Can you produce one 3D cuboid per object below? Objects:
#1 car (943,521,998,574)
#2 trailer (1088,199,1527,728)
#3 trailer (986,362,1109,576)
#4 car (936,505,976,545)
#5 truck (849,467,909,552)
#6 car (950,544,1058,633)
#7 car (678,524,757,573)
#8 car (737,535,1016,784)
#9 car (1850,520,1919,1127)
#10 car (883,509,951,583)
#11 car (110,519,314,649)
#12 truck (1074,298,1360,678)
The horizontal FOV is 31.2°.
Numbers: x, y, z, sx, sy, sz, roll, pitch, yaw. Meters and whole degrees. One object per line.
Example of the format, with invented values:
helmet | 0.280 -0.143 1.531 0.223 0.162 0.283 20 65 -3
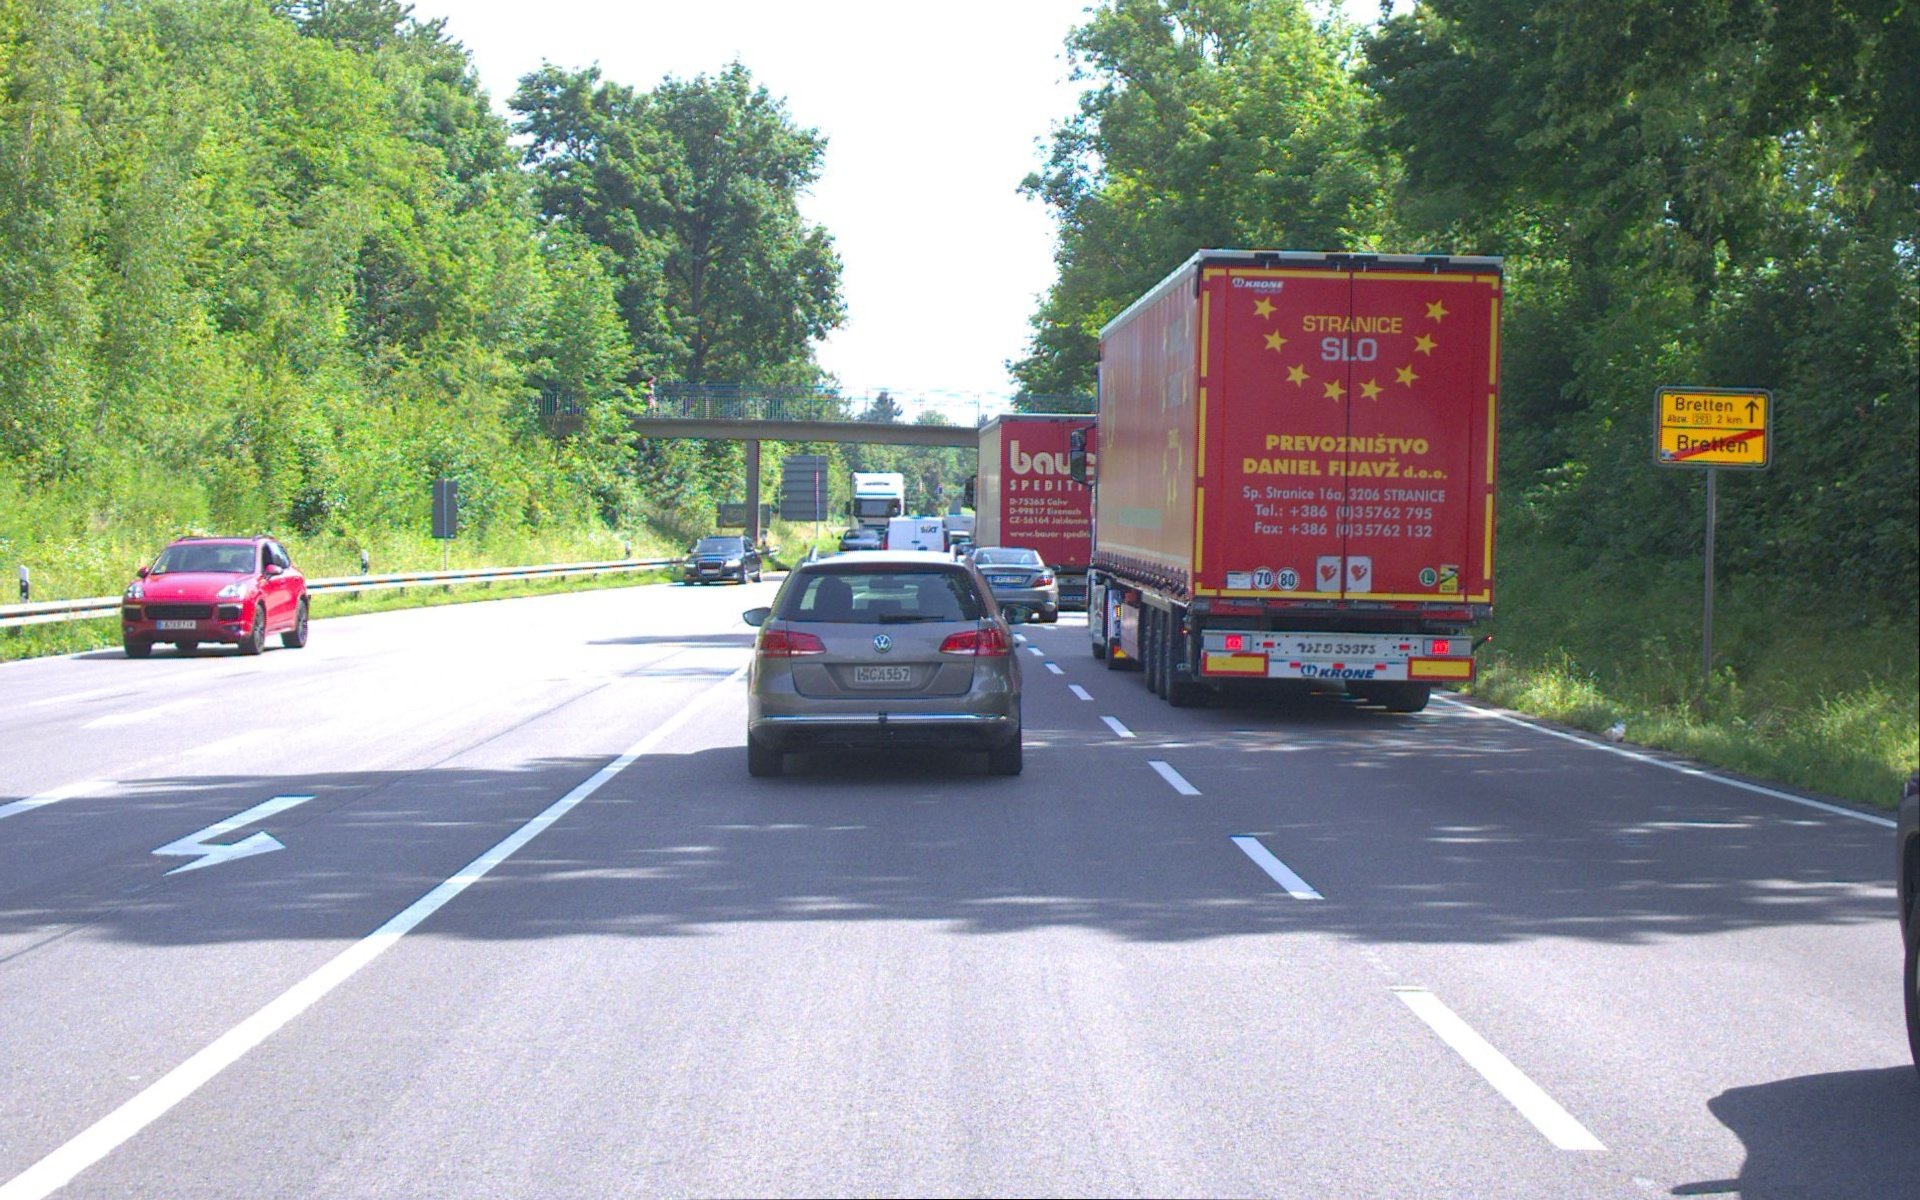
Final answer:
car | 0.389 -2.014 132.550 1.993 2.007 4.000 -1 1 -1
trailer | 3.141 -1.209 35.192 2.839 4.350 13.168 1 1 -1
trailer | 1.883 -2.674 75.049 2.395 4.229 13.077 -1 1 1
car | -0.207 -3.869 177.606 1.993 2.007 4.000 -1 1 -1
truck | -3.940 -4.330 166.471 2.773 3.917 9.467 0 1 -2
car | 0.757 -0.222 61.254 1.770 1.508 4.000 -1 1 -1
car | -7.157 -1.526 101.694 1.963 1.410 4.000 0 1 1
car | -0.552 0.344 23.120 1.691 1.508 4.000 -1 1 -1
car | 3.530 0.609 7.942 1.770 1.649 4.000 -1 1 -2
car | -1.179 -1.457 93.237 1.770 1.930 3.978 -1 1 -1
car | -10.963 -0.251 50.713 1.973 1.790 4.809 -1 1 -1
truck | 3.025 -1.310 42.074 2.870 4.266 5.839 1 1 -1
